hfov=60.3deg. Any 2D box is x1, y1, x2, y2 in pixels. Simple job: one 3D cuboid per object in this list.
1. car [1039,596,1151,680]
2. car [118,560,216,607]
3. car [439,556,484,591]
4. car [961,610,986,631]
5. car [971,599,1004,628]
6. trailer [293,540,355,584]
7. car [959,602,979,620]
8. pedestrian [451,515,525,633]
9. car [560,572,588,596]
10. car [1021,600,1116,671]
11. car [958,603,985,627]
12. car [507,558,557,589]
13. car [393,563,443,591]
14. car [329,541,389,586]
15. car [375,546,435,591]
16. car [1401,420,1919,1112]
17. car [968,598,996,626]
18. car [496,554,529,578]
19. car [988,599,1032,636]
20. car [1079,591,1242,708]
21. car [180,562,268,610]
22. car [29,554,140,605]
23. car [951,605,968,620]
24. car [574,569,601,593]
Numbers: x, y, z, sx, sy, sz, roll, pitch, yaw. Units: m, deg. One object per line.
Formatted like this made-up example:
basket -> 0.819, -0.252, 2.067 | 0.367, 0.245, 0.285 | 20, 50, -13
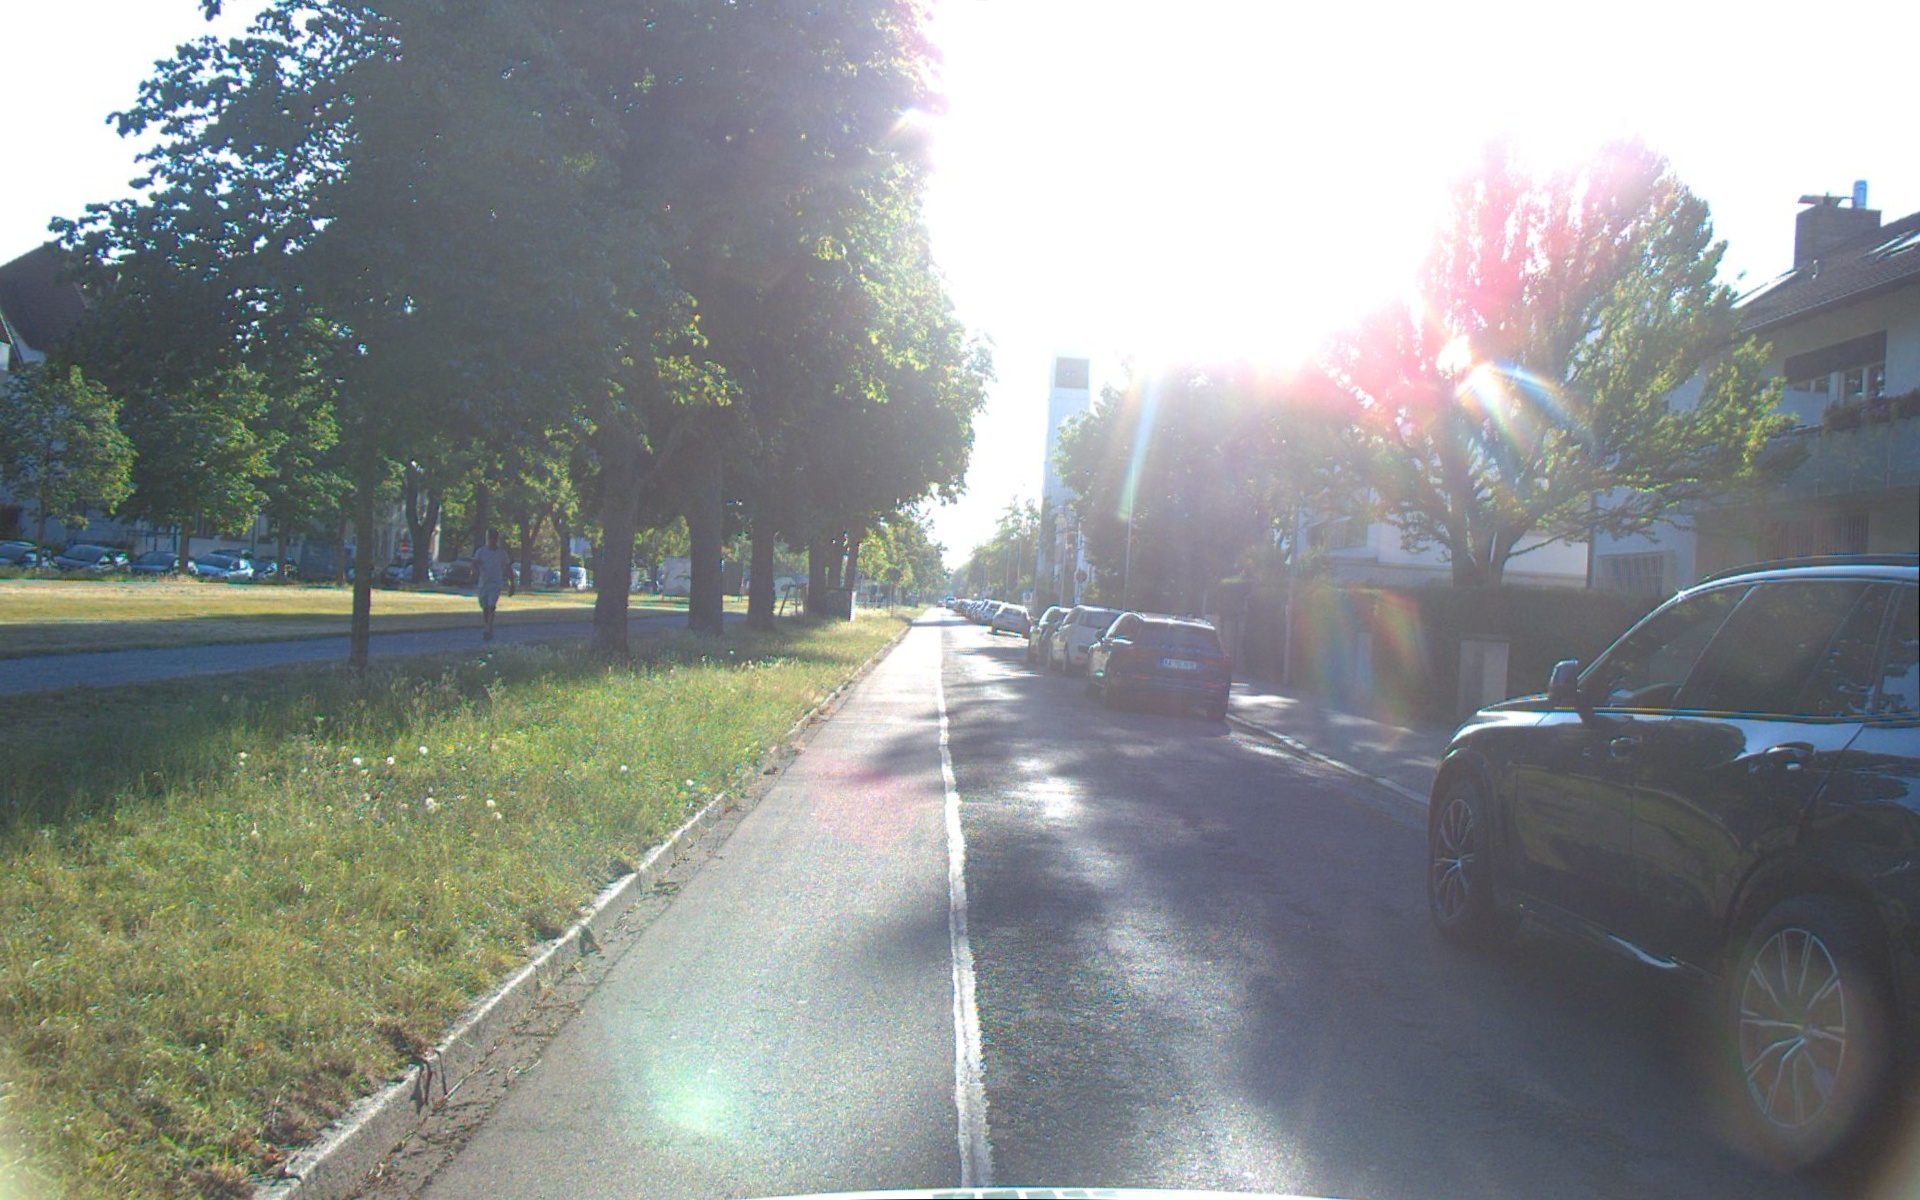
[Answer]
car -> 2.876, 0.791, 36.051 | 1.659, 1.508, 3.925 | 8, -1, -5
car -> -33.542, -0.665, 70.113 | 1.953, 1.751, 4.255 | 4, -1, 0
car -> -34.574, -1.804, 114.742 | 1.650, 2.213, 4.314 | 4, 0, 0
car -> 1.083, 1.628, 132.214 | 1.726, 1.547, 3.998 | 5, -1, -2
car -> 1.693, 0.827, 101.602 | 1.723, 1.633, 4.357 | 4, 0, -2
trailer -> -39.929, -2.358, 103.979 | 1.953, 2.470, 4.723 | 4, -1, 0
car -> 0.890, 1.167, 169.162 | 1.953, 1.658, 4.000 | 4, -1, 0
pedestrian -> -7.511, -0.406, 26.332 | 0.709, 1.788, 0.993 | 4, 0, 6
car -> -41.232, -1.672, 176.735 | 1.953, 2.452, 4.362 | 2, -1, 0
car -> 2.632, 0.842, 41.057 | 1.715, 1.502, 4.285 | 6, -1, -3
car -> 0.808, 1.111, 121.917 | 1.723, 1.633, 4.357 | 4, 0, -2
car -> -34.470, -2.081, 133.351 | 2.483, 2.275, 5.458 | 3, 0, 0
car -> -34.195, -1.445, 104.402 | 1.650, 1.587, 4.314 | 4, -1, 0
car -> -40.018, -2.413, 110.333 | 1.953, 2.719, 5.186 | 4, -1, 0
car -> -40.356, -2.258, 120.511 | 2.388, 2.973, 5.816 | 2, -1, -1
car -> 3.381, 0.487, 6.096 | 1.954, 1.767, 4.861 | 4, 0, -2
car -> 1.425, 0.776, 107.698 | 1.651, 1.679, 4.099 | 4, 0, -1
car -> -42.738, -3.228, 158.184 | 1.953, 2.049, 4.483 | -2, -1, -1
car -> 2.359, 0.818, 78.389 | 1.723, 1.443, 4.071 | 10, -1, 0
car -> 2.997, 0.736, 25.680 | 1.757, 1.518, 4.672 | 5, -1, -1
car -> -33.565, -0.608, 75.541 | 1.953, 1.892, 4.255 | 4, -1, 0
car -> -33.742, -0.754, 63.882 | 1.953, 1.713, 4.000 | 4, -1, 2
car -> -0.036, 1.550, 203.415 | 1.940, 1.712, 4.000 | 4, -1, 0
car -> -41.222, -2.076, 182.887 | 1.953, 2.452, 4.362 | 2, -1, 0
